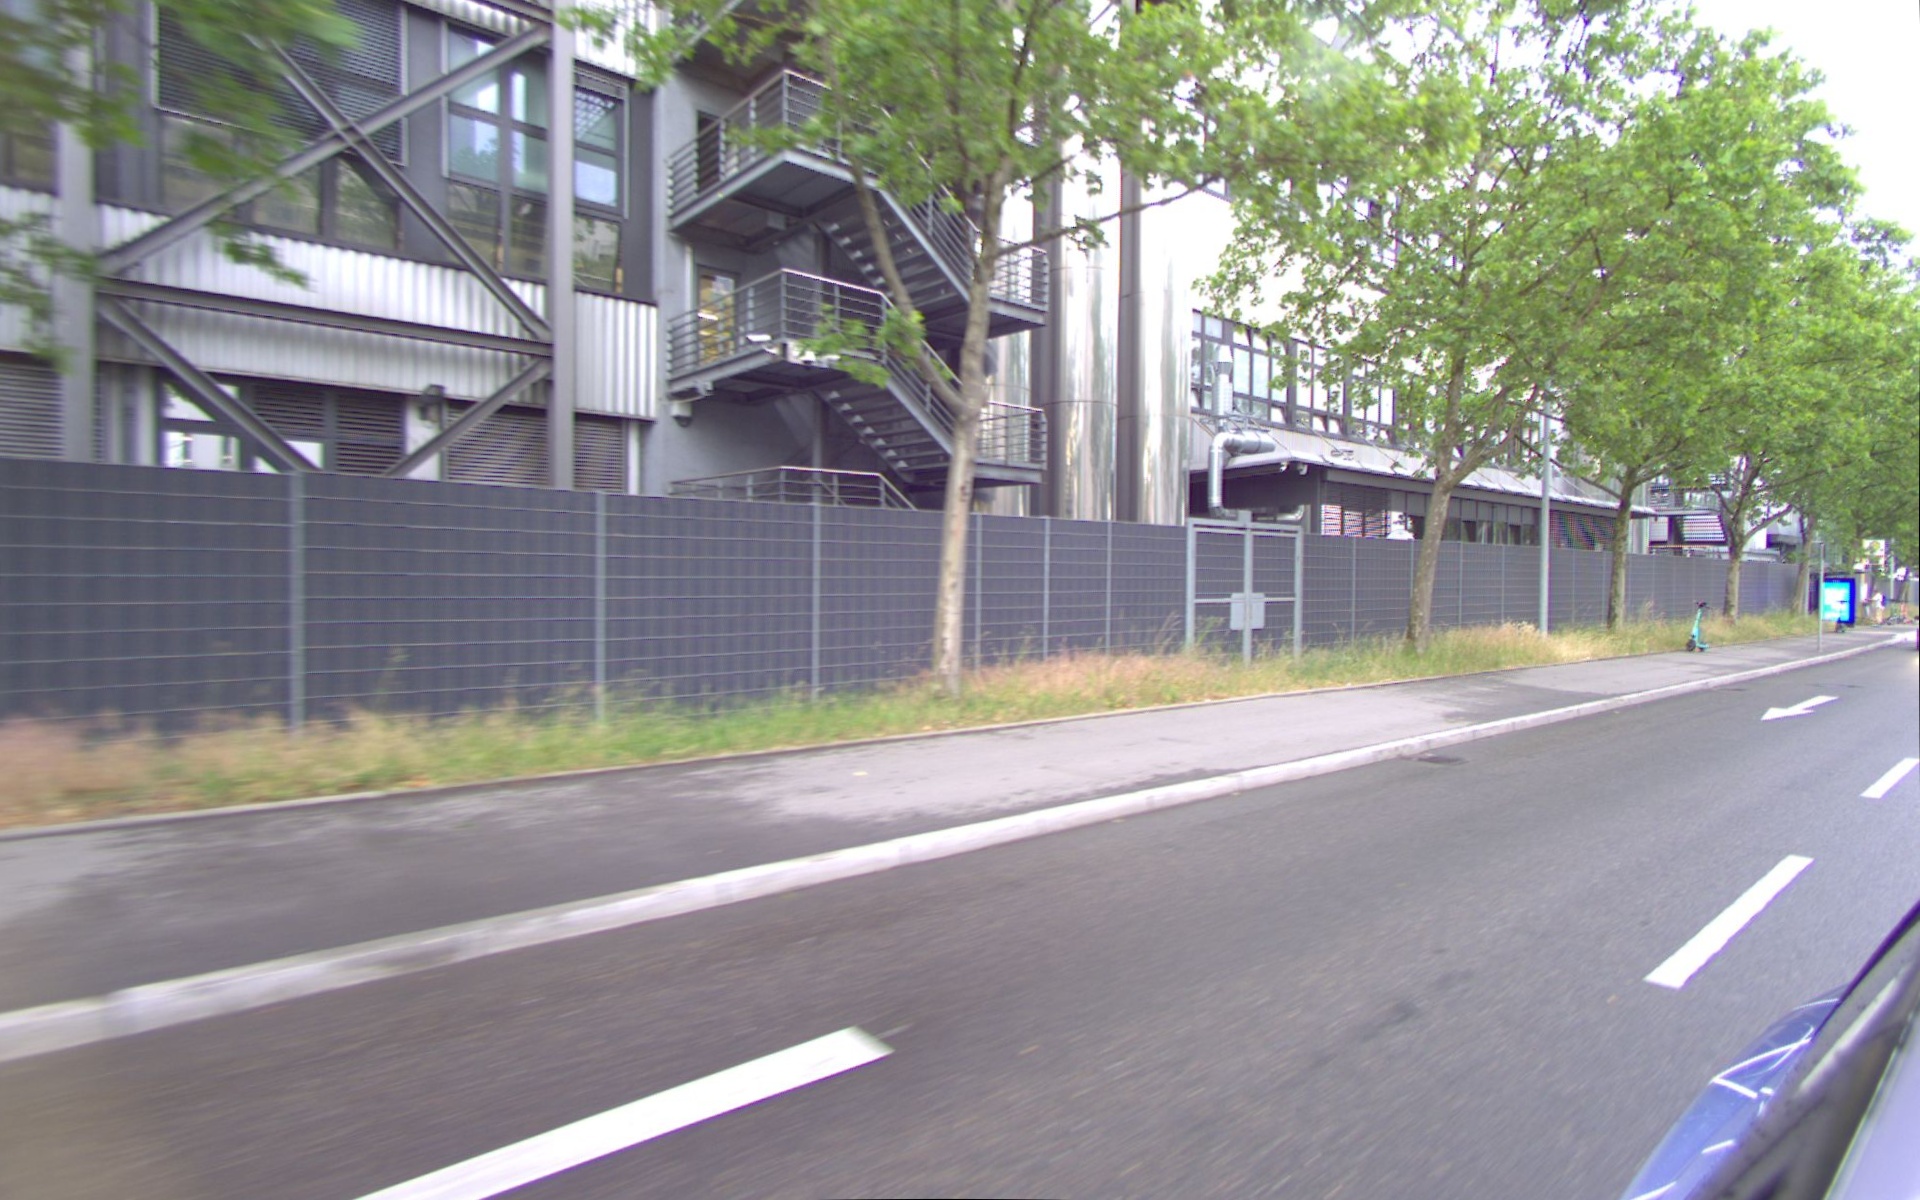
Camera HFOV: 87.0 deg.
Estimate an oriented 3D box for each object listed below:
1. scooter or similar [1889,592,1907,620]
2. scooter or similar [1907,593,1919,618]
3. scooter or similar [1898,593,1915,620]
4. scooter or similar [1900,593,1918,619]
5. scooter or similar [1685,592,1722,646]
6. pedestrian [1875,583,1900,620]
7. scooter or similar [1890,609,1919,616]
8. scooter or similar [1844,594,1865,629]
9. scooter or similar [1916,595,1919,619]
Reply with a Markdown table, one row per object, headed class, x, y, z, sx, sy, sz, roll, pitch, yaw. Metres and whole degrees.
| class | x | y | z | sx | sy | sz | roll | pitch | yaw |
| --- | --- | --- | --- | --- | --- | --- | --- | --- | --- |
| scooter or similar | 45.472 | 0.280 | 49.057 | 1.277 | 1.311 | 0.437 | 0 | 1 | -38 |
| scooter or similar | 49.639 | 0.279 | 52.518 | 1.341 | 1.311 | 0.437 | 0 | 1 | -34 |
| scooter or similar | 46.625 | 0.303 | 49.852 | 1.277 | 1.311 | 0.437 | 0 | 1 | -38 |
| scooter or similar | 48.147 | 0.289 | 51.337 | 1.277 | 1.311 | 0.437 | 0 | 1 | -38 |
| scooter or similar | 18.077 | 0.458 | 24.613 | 1.087 | 1.285 | 0.330 | 0 | 1 | -32 |
| pedestrian | 43.723 | 0.055 | 47.721 | 0.717 | 1.731 | 0.777 | 0 | 1 | -41 |
| scooter or similar | 52.782 | 0.689 | 56.263 | 1.168 | 0.314 | 1.194 | 1 | 2 | 21 |
| scooter or similar | 34.604 | 0.431 | 39.152 | 1.222 | 1.325 | 0.329 | 0 | 1 | -37 |
| scooter or similar | 52.329 | 0.360 | 54.841 | 1.275 | 1.301 | 0.437 | 0 | 1 | -34 |
